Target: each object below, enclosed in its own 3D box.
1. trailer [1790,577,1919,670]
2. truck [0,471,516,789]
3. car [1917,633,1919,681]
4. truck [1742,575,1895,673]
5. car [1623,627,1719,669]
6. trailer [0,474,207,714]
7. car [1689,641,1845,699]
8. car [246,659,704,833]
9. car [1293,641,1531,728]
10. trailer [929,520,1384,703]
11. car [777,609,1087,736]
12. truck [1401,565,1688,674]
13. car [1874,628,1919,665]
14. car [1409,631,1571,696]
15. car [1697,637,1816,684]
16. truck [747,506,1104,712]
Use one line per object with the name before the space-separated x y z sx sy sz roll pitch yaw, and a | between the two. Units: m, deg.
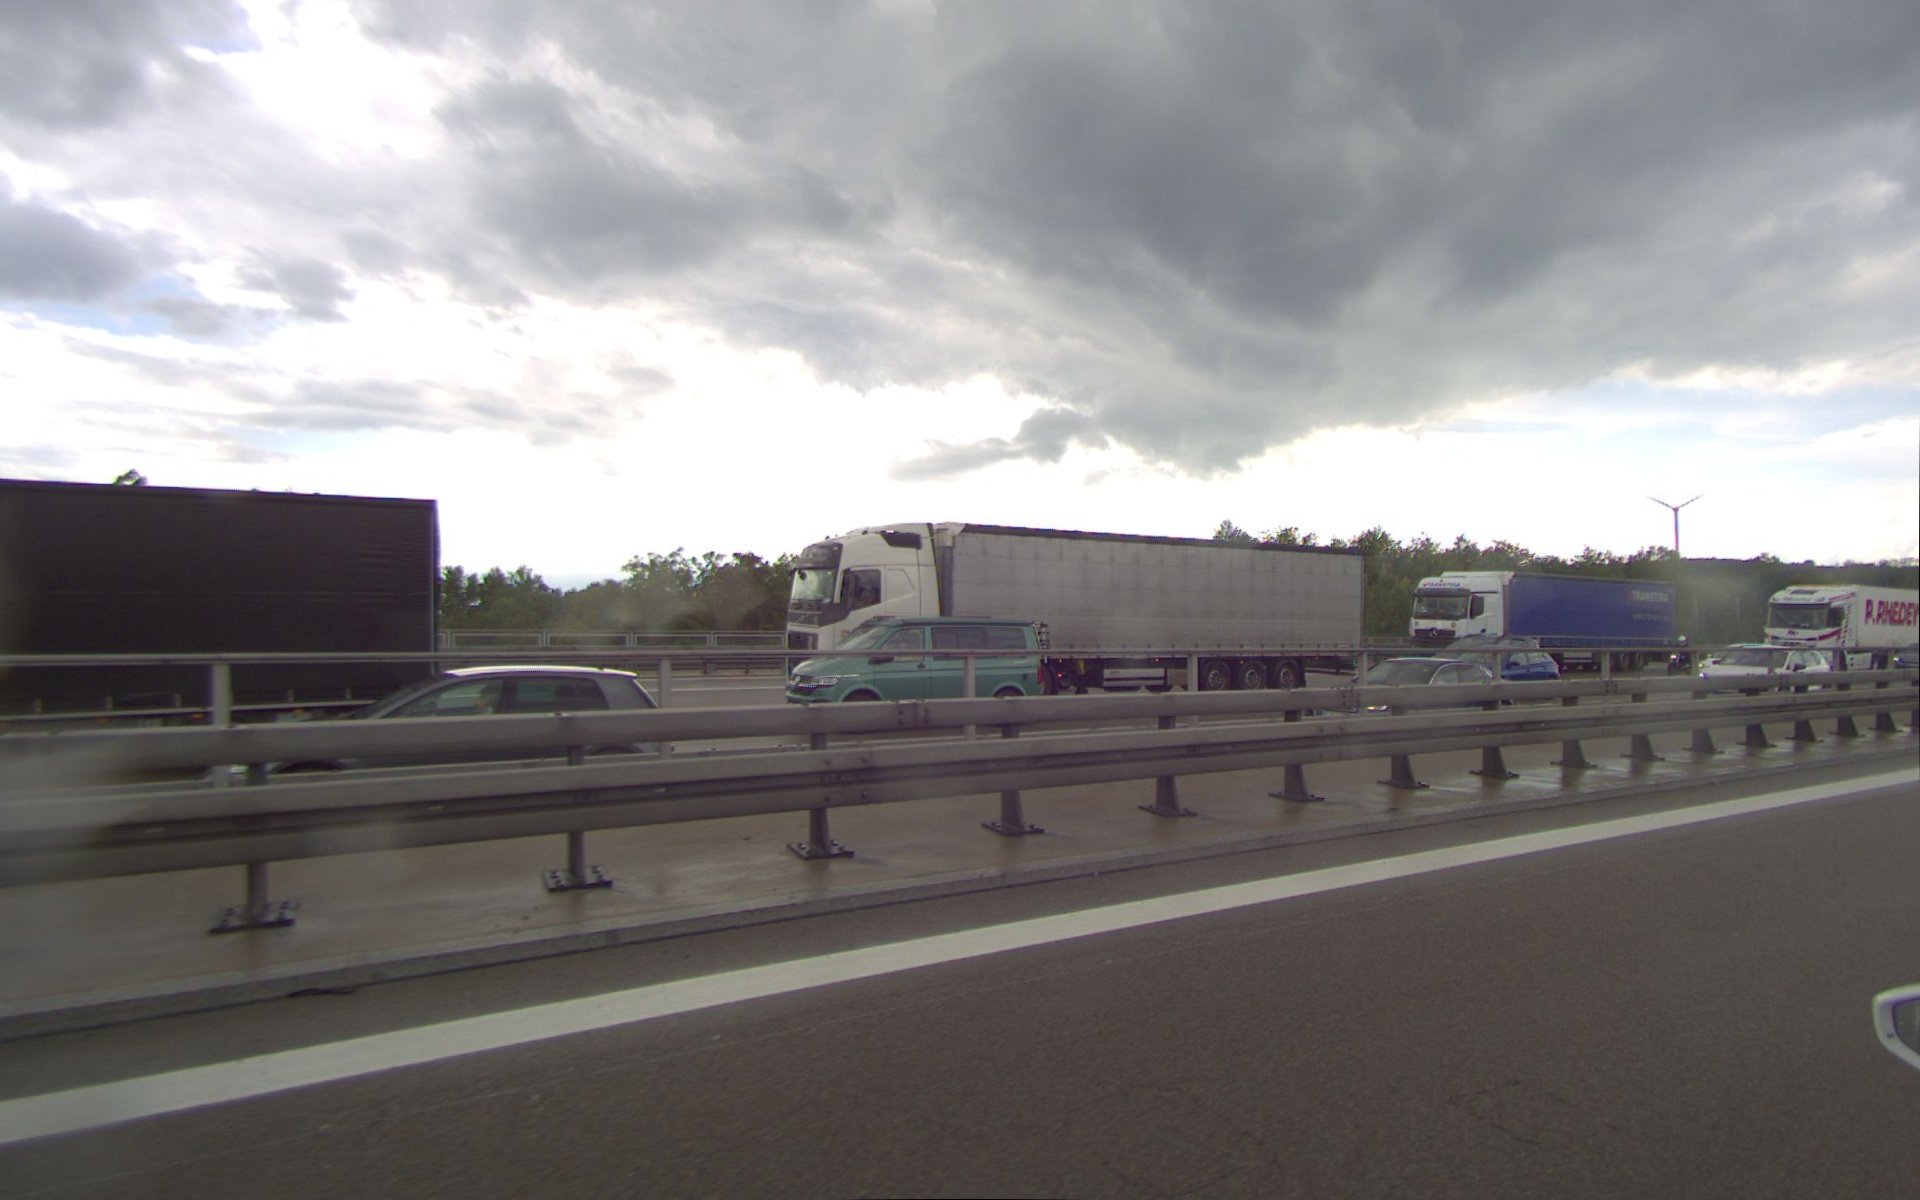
trailer | 46.292 1.145 50.610 11.818 4.250 3.171 1 -1 -31
truck | -10.234 0.360 12.444 8.440 3.444 2.507 1 -1 -31
car | 35.358 2.005 35.018 4.233 1.640 1.784 1 -1 -30
truck | 40.132 1.105 46.907 7.648 4.250 3.162 1 -1 -31
car | 28.487 1.877 40.216 3.952 1.566 1.638 1 -1 -30
trailer | -18.591 -0.136 17.174 8.746 4.012 3.203 1 0 -30
car | 21.399 1.793 26.595 4.571 1.372 1.711 1 -1 -30
car | -4.839 1.351 10.373 3.953 1.372 1.711 1 -1 -30
car | 8.323 1.470 18.399 4.481 1.372 1.711 1 -1 -30
trailer | 5.611 0.349 26.477 12.863 3.986 3.228 1 0 -31
car | -0.416 1.244 18.691 5.609 2.079 1.813 1 -1 -31
truck | 25.629 0.808 43.212 17.544 4.074 2.635 1 -1 -31
car | 42.188 2.027 44.153 4.621 1.523 1.638 1 -1 -30
car | 14.620 1.677 27.653 4.643 1.645 1.813 1 -1 -31
car | 28.105 2.125 35.419 4.802 1.530 1.638 2 -1 -30
truck | -0.695 0.230 22.758 7.485 3.986 3.184 1 0 -30
